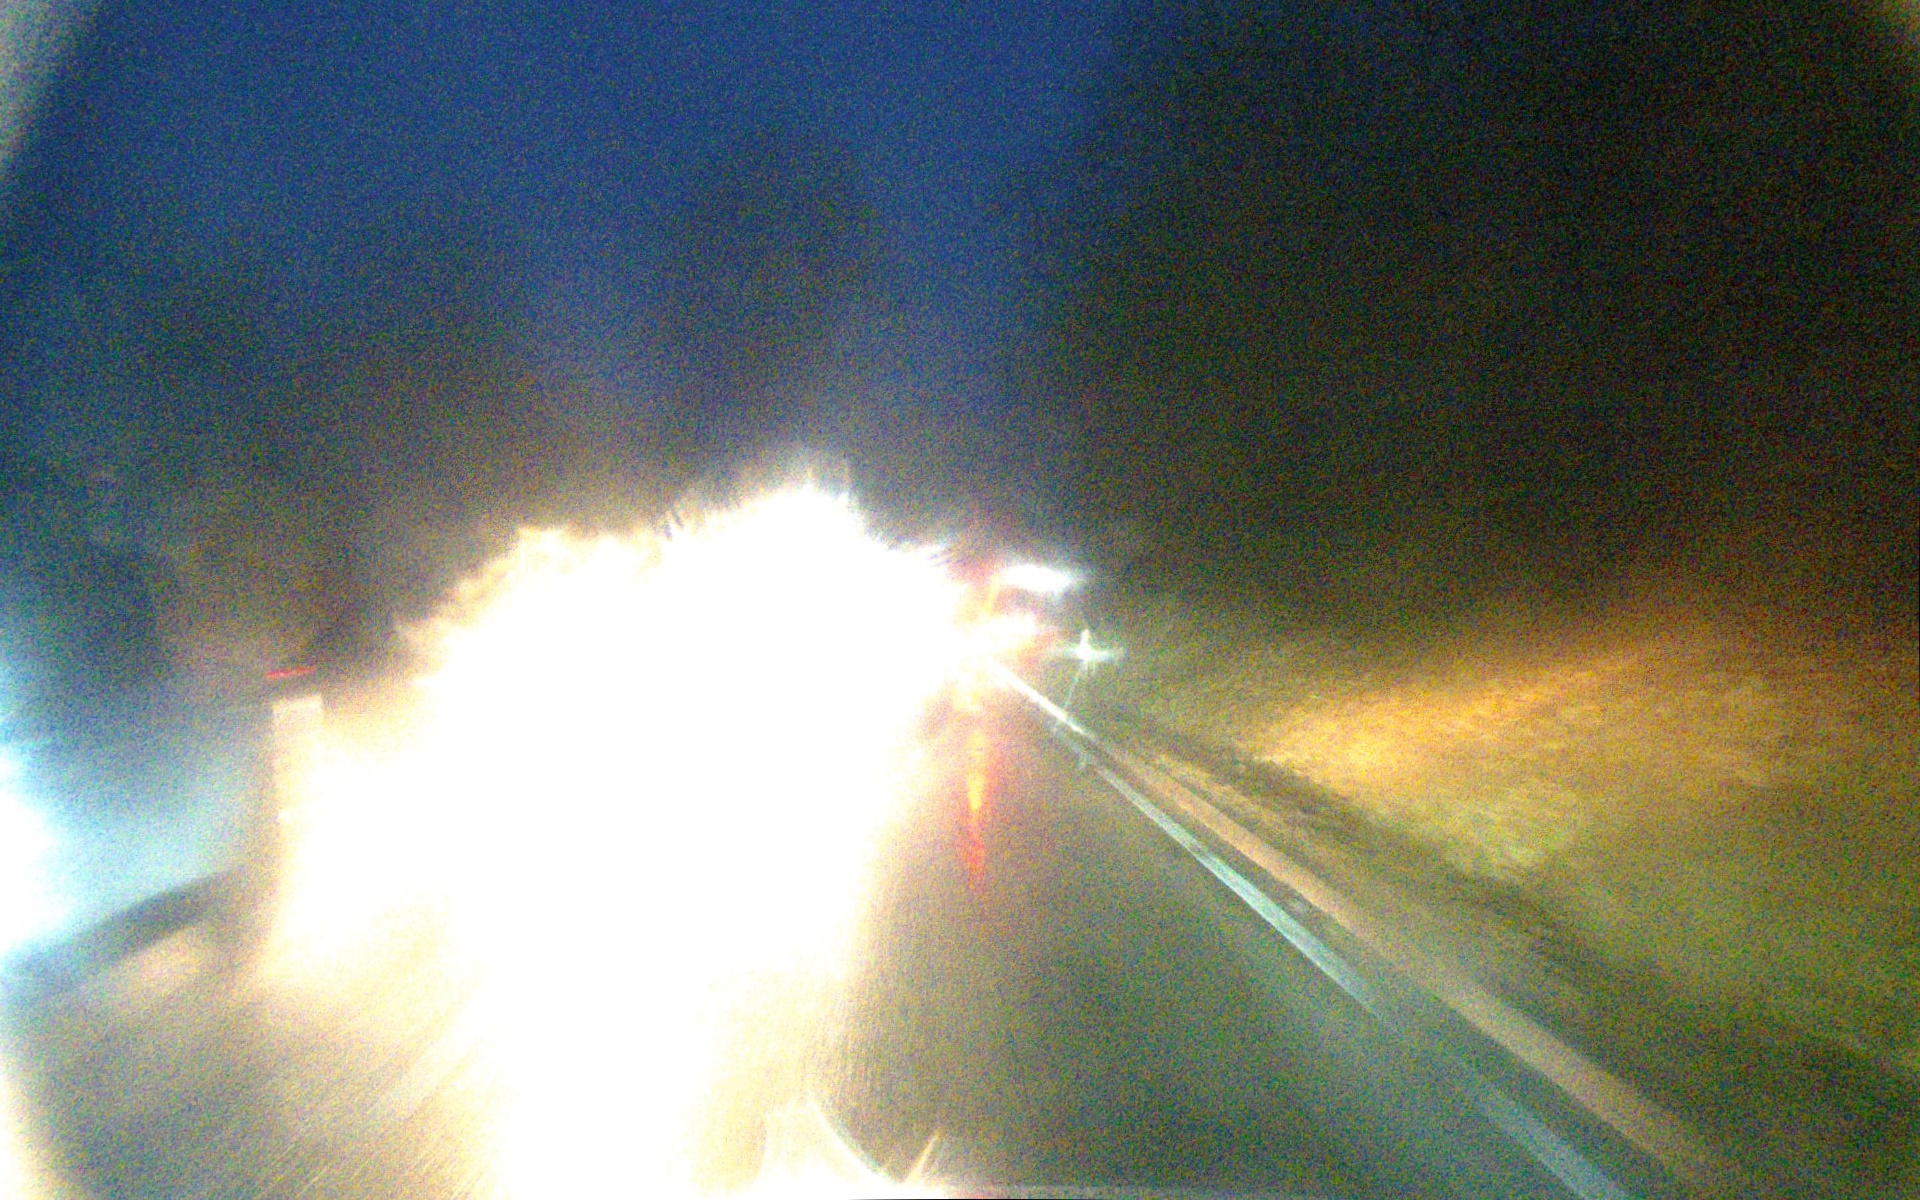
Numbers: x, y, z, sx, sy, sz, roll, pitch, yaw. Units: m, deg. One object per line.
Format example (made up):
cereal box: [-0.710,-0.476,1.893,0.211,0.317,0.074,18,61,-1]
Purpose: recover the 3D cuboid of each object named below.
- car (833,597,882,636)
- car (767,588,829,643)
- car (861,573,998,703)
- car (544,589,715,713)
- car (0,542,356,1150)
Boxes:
car: [-4.218,0.648,68.425,1.720,1.430,4.487,3,1,-1]
car: [-4.918,0.440,50.501,1.629,1.587,3.559,1,0,-2]
car: [-0.462,0.551,25.630,1.953,1.838,3.916,1,0,-1]
car: [-4.188,0.612,21.436,1.566,1.449,3.551,1,0,-2]
car: [-3.434,0.639,5.071,1.766,1.599,4.188,1,0,-3]
